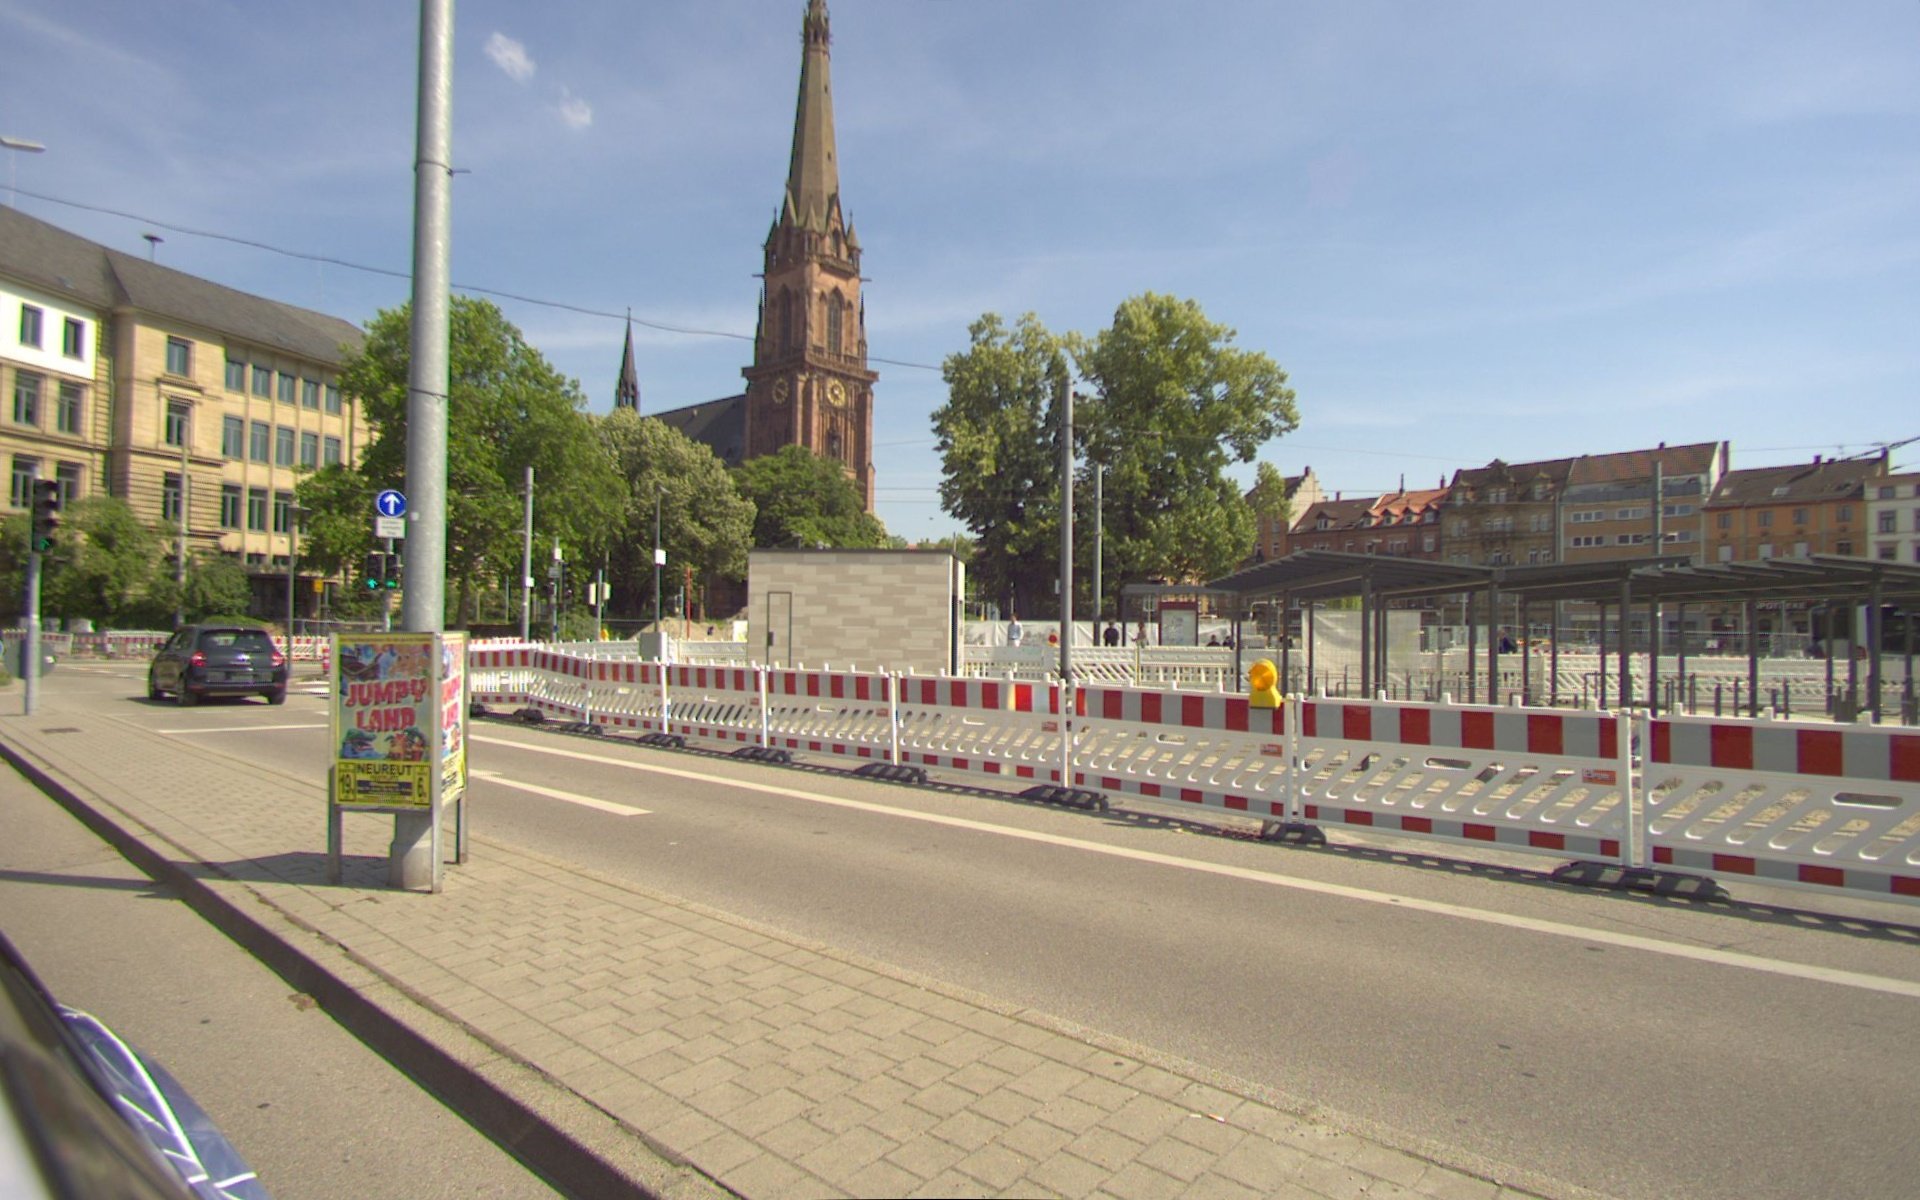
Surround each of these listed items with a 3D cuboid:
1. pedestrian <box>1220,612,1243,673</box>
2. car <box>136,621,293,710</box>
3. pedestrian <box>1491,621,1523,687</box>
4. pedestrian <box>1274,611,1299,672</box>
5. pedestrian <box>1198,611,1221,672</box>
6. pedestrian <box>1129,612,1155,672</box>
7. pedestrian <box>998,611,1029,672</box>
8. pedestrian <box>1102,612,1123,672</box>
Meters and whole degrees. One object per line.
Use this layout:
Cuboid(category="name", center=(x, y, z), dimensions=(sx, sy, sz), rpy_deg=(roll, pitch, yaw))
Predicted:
Cuboid(category="pedestrian", center=(9.077, 1.421, 33.877), dimensions=(0.679, 2.029, 0.818), rpy_deg=(0, -2, 11))
Cuboid(category="car", center=(-14.677, 1.235, 19.868), dimensions=(3.630, 1.586, 1.644), rpy_deg=(-1, -3, 41))
Cuboid(category="pedestrian", center=(17.145, 1.683, 31.743), dimensions=(0.680, 2.029, 0.816), rpy_deg=(0, -2, 16))
Cuboid(category="pedestrian", center=(11.092, 1.404, 34.395), dimensions=(0.679, 2.029, 0.818), rpy_deg=(0, -2, 11))
Cuboid(category="pedestrian", center=(8.388, 1.400, 34.008), dimensions=(0.679, 2.029, 0.818), rpy_deg=(0, -2, 11))
Cuboid(category="pedestrian", center=(6.215, 1.437, 34.566), dimensions=(0.810, 2.029, 0.685), rpy_deg=(1, -2, 6))
Cuboid(category="pedestrian", center=(1.808, 1.395, 34.054), dimensions=(0.686, 2.029, 0.809), rpy_deg=(-1, -3, 43))
Cuboid(category="pedestrian", center=(5.246, 1.429, 34.834), dimensions=(0.678, 2.029, 0.819), rpy_deg=(0, -2, 7))
